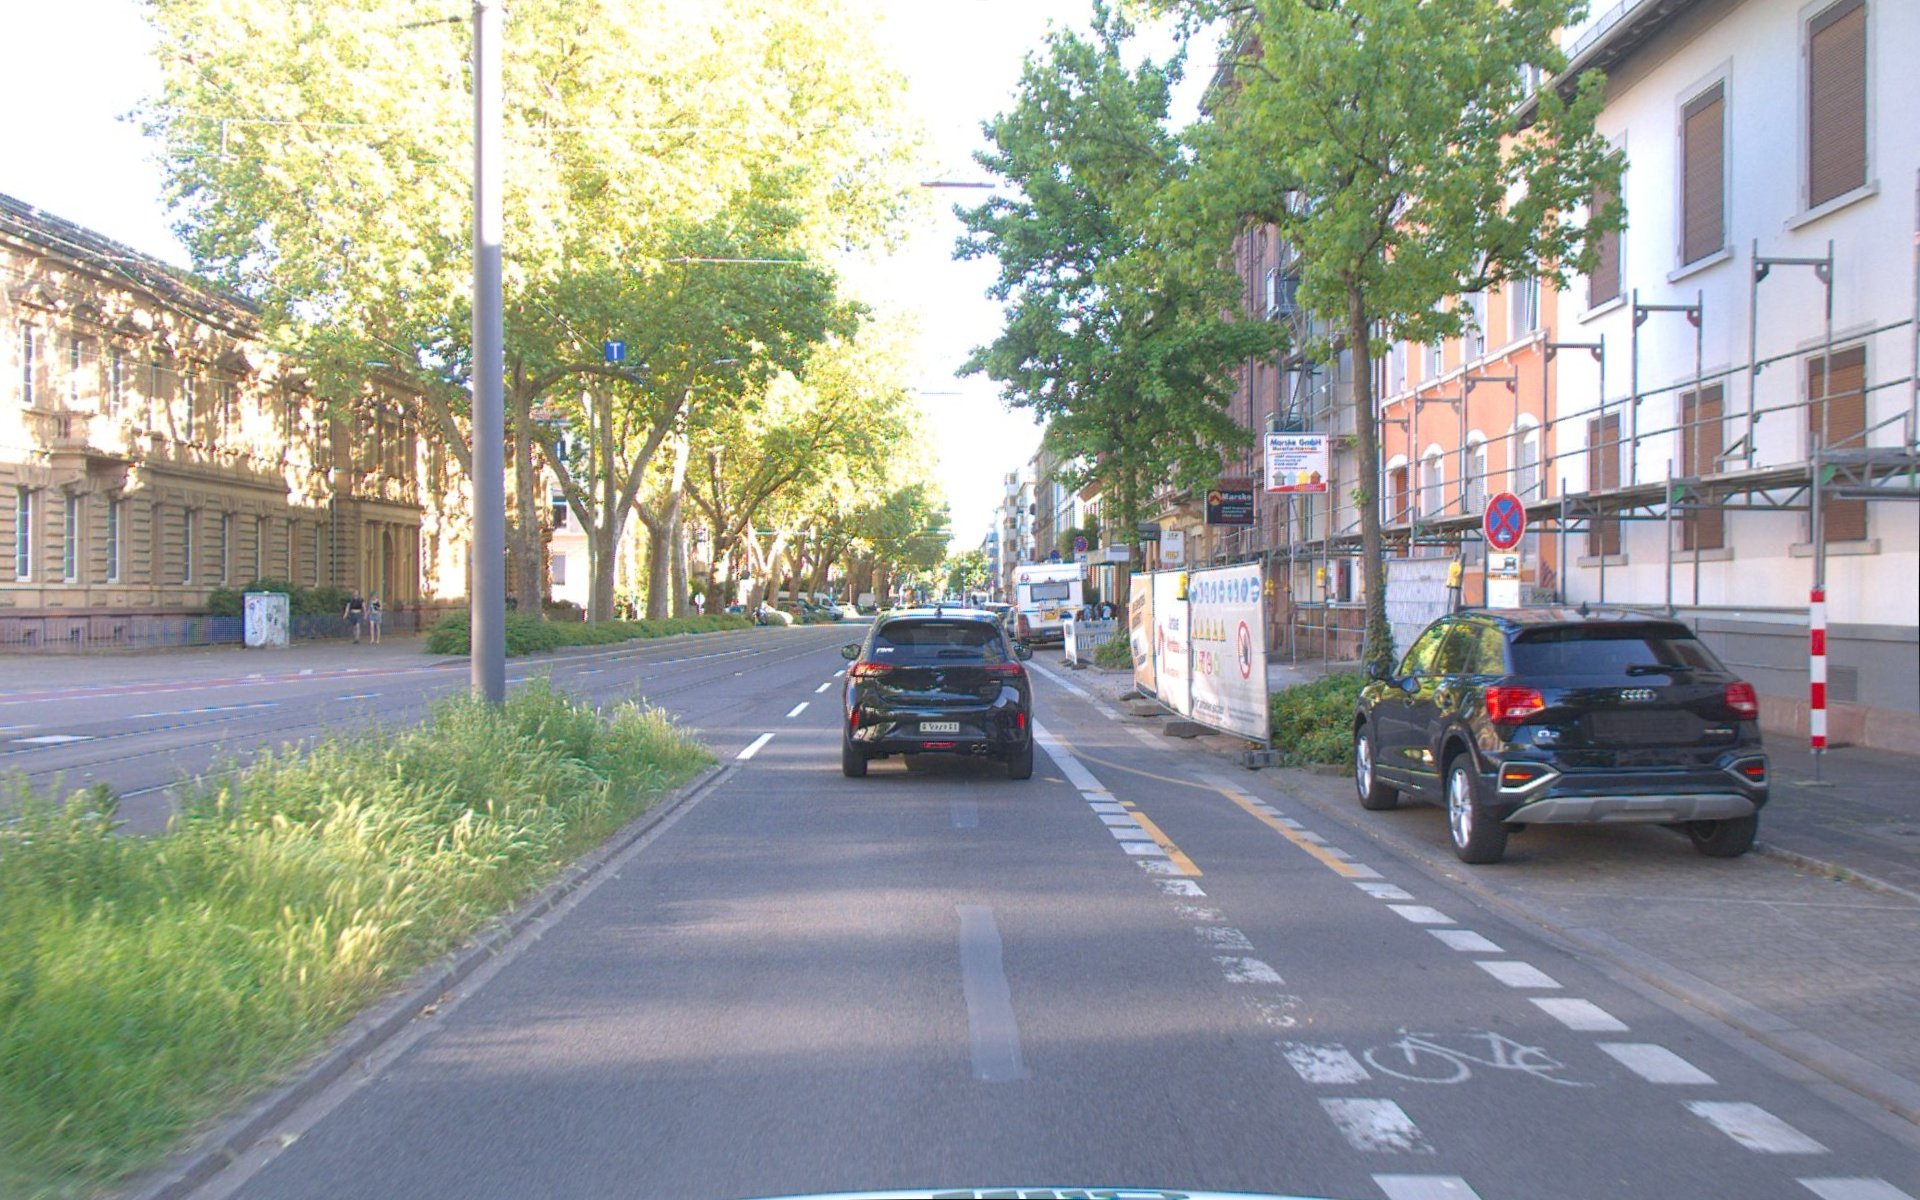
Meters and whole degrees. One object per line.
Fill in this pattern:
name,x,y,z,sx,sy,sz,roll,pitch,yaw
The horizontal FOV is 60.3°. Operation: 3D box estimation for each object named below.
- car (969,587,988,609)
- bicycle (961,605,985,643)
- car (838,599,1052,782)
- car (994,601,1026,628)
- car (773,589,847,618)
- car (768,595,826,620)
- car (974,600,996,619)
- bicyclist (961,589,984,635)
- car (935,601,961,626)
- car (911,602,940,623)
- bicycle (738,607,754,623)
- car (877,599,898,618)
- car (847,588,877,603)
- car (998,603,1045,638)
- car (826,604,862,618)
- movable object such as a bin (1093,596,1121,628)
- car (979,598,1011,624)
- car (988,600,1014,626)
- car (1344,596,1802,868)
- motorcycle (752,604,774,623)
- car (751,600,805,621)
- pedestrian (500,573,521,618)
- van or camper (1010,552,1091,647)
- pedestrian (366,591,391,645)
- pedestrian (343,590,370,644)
car,2.049,-0.220,181.471,2.033,2.257,4.933,-3,0,1
bicycle,0.487,0.922,64.126,0.843,1.431,2.523,1,0,-1
car,-0.140,0.751,15.475,1.757,1.466,3.531,1,1,-1
car,2.737,0.786,91.559,1.659,1.417,4.495,-1,0,1
car,-13.895,0.316,153.504,6.492,2.451,2.457,2,-1,0
car,-13.691,0.646,138.725,4.579,1.957,1.980,2,-1,1
car,2.187,0.821,143.871,1.669,1.481,3.698,-3,0,3
bicyclist,0.481,0.472,64.027,0.831,1.770,1.161,1,0,-2
car,-0.868,0.955,120.693,1.772,1.773,3.933,0,0,1
car,-2.233,0.808,108.794,1.772,1.362,3.933,0,0,1
bicycle,-13.522,0.950,104.562,0.529,0.957,2.035,1,0,7
car,-6.904,0.801,157.534,1.828,1.658,4.560,0,1,-1
car,-12.754,-0.536,215.023,3.842,1.821,1.676,2,-1,-3
car,2.656,0.878,72.066,1.773,1.460,4.664,-1,0,-1
car,-12.898,1.230,184.277,3.842,1.524,1.676,2,-1,-3
movable object such as a bin,7.382,0.605,83.231,1.267,1.547,1.286,1,0,-1
car,2.414,0.763,114.599,1.843,1.613,3.930,-3,0,-4
car,2.570,0.818,103.594,1.601,1.574,3.576,-1,0,1
car,3.959,0.747,11.457,1.727,1.509,4.110,-1,0,1
motorcycle,-12.446,0.855,104.558,0.865,1.167,2.392,1,0,7
car,-13.686,0.797,124.435,3.840,1.467,1.748,2,-1,0
pedestrian,-18.907,-0.193,69.575,0.705,1.882,0.836,1,0,-8
van or camper,3.112,-0.007,58.636,2.426,3.023,7.884,-3,0,1
pedestrian,-18.796,0.565,53.494,0.622,1.727,0.655,1,0,-8
pedestrian,-19.483,0.557,53.391,0.658,1.727,0.661,1,0,-8
